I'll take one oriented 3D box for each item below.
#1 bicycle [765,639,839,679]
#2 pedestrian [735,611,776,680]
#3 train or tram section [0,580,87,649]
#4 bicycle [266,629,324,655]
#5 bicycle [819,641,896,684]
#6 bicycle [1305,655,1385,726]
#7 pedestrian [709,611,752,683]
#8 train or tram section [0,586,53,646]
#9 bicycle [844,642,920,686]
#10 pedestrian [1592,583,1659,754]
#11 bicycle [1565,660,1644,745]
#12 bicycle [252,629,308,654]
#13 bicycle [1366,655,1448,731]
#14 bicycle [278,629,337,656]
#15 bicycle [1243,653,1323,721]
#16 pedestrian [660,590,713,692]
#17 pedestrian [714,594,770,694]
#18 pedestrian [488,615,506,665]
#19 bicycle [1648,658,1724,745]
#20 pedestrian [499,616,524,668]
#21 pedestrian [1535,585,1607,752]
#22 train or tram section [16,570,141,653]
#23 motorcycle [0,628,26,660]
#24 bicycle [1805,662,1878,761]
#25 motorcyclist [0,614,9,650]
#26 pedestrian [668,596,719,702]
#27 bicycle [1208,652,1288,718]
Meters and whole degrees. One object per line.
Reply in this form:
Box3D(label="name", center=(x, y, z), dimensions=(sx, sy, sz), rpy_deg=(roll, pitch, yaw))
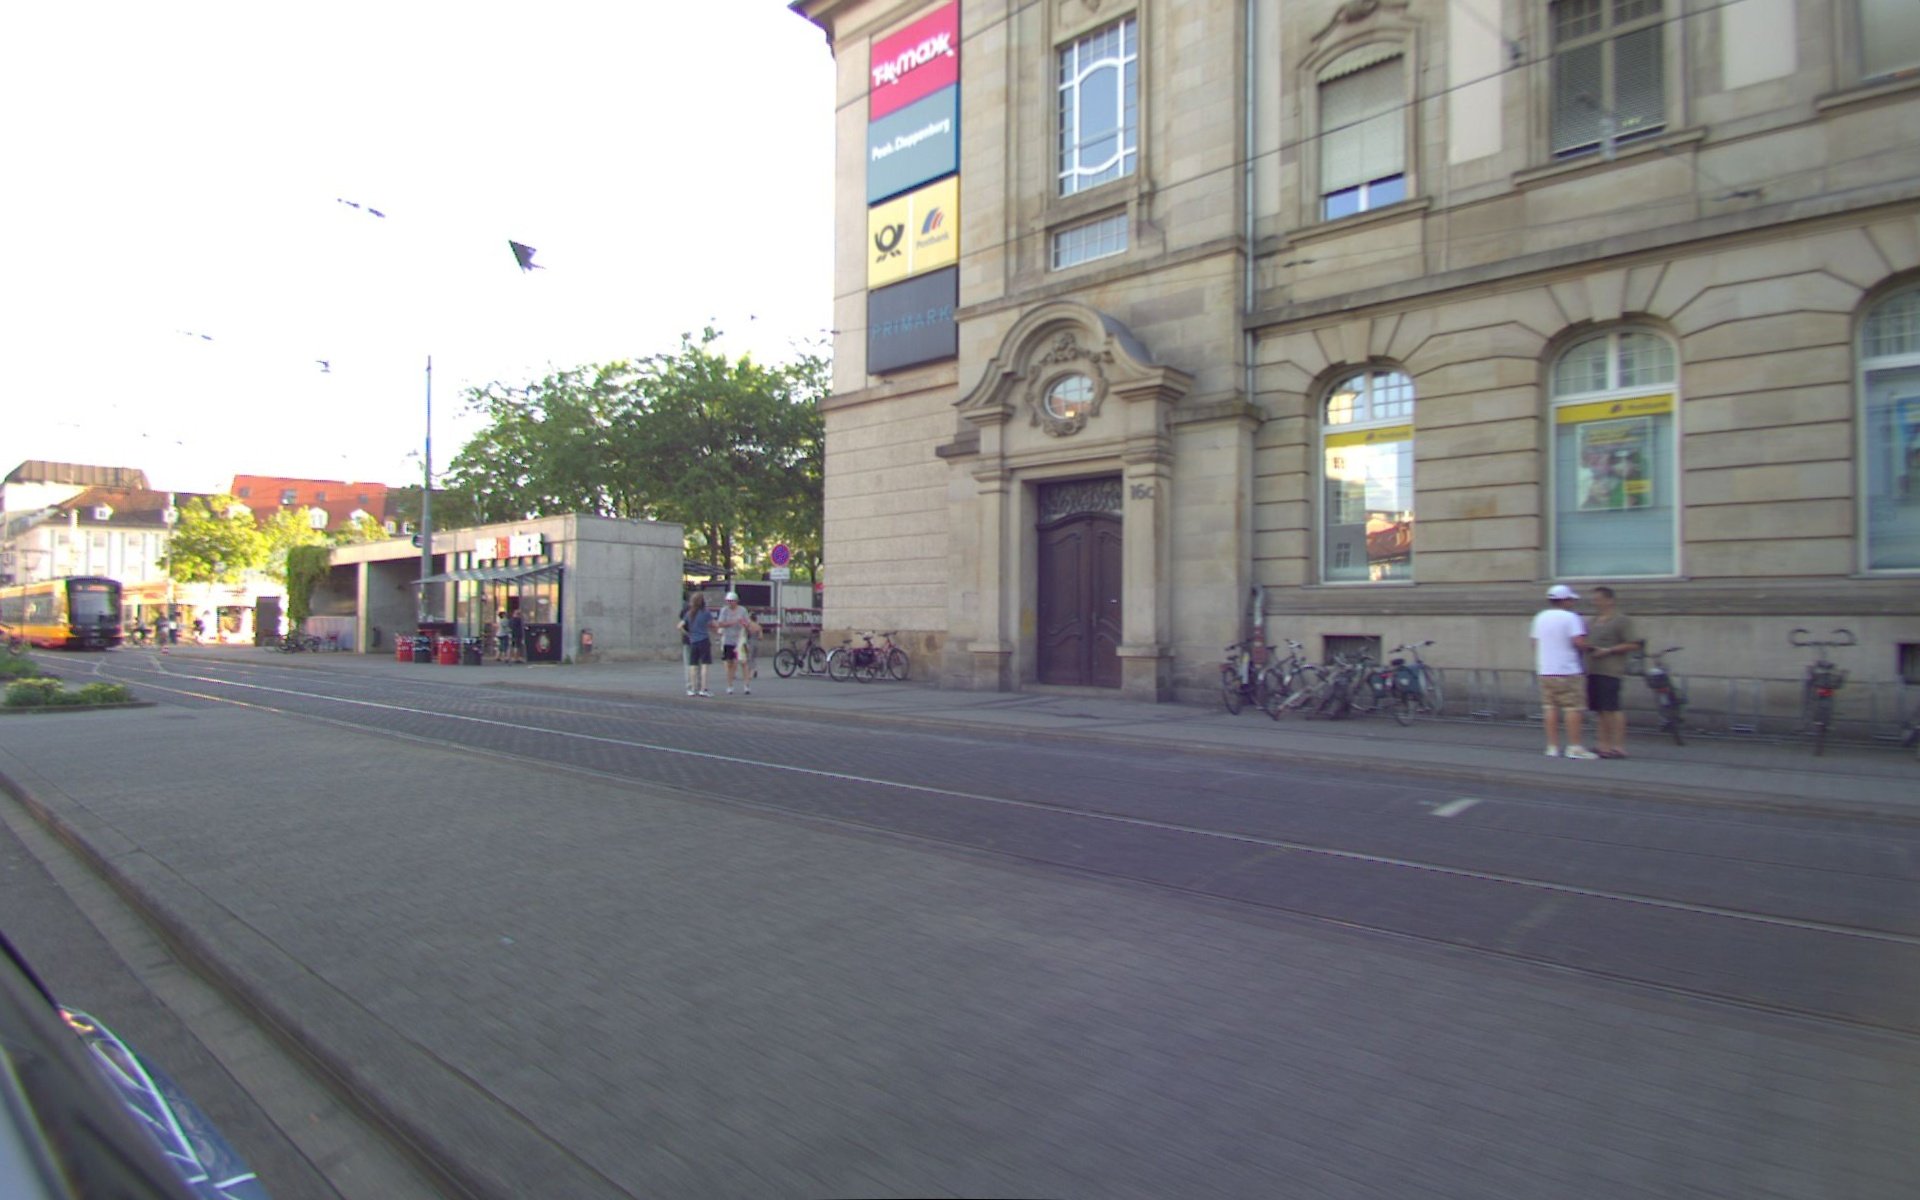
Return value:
Box3D(label="bicycle", center=(-3.784, 1.396, 24.363), dimensions=(0.634, 0.875, 1.817), rpy_deg=(-1, -1, 39))
Box3D(label="pedestrian", center=(-4.740, 1.046, 23.429), dimensions=(0.679, 1.573, 0.653), rpy_deg=(-1, -2, 37))
Box3D(label="train or tram section", center=(-54.023, 0.932, 59.154), dimensions=(11.977, 3.714, 2.865), rpy_deg=(-2, -2, 41))
Box3D(label="bicycle", center=(-30.516, 1.913, 46.464), dimensions=(0.692, 1.168, 2.103), rpy_deg=(-2, -2, 42))
Box3D(label="bicycle", center=(-2.301, 1.400, 22.936), dimensions=(0.634, 0.875, 1.817), rpy_deg=(-1, -1, 39))
Box3D(label="bicycle", center=(5.445, 1.249, 14.276), dimensions=(1.557, 0.880, 0.451), rpy_deg=(0, -1, -44))
Box3D(label="pedestrian", center=(-5.181, 1.050, 22.863), dimensions=(0.679, 1.573, 0.653), rpy_deg=(-1, -2, 37))
Box3D(label="train or tram section", center=(-62.592, 1.123, 66.678), dimensions=(10.779, 3.714, 2.865), rpy_deg=(-2, -2, 41))
Box3D(label="bicycle", center=(-1.715, 1.395, 22.509), dimensions=(0.634, 0.875, 1.817), rpy_deg=(-1, -1, 39))
Box3D(label="pedestrian", center=(6.762, 0.673, 10.289), dimensions=(0.493, 1.686, 0.371), rpy_deg=(-1, -1, 45))
Box3D(label="bicycle", center=(7.716, 1.196, 12.094), dimensions=(1.557, 0.880, 0.451), rpy_deg=(0, -1, -44))
Box3D(label="bicycle", center=(-31.908, 1.925, 47.509), dimensions=(0.692, 1.168, 2.103), rpy_deg=(-2, -2, 42))
Box3D(label="bicycle", center=(5.960, 1.212, 13.450), dimensions=(1.557, 0.880, 0.451), rpy_deg=(0, -1, -44))
Box3D(label="bicycle", center=(-29.266, 1.902, 45.434), dimensions=(0.692, 1.168, 2.103), rpy_deg=(-2, -2, 42))
Box3D(label="bicycle", center=(4.773, 1.255, 14.905), dimensions=(1.557, 0.880, 0.451), rpy_deg=(0, -1, -44))
Box3D(label="pedestrian", center=(-4.827, 0.725, 17.868), dimensions=(0.593, 1.750, 0.643), rpy_deg=(-1, -3, 32))
Box3D(label="pedestrian", center=(-3.928, 0.792, 18.214), dimensions=(0.679, 1.750, 0.668), rpy_deg=(-1, -4, 35))
Box3D(label="pedestrian", center=(-15.675, 1.354, 34.253), dimensions=(0.400, 1.665, 0.389), rpy_deg=(-1, -1, 35))
Box3D(label="bicycle", center=(8.415, 1.143, 11.711), dimensions=(1.557, 0.880, 0.451), rpy_deg=(0, -1, -44))
Box3D(label="pedestrian", center=(-14.573, 1.341, 32.879), dimensions=(0.551, 1.665, 0.556), rpy_deg=(-1, -1, 35))
Box3D(label="pedestrian", center=(6.167, 0.675, 10.227), dimensions=(0.370, 1.643, 0.494), rpy_deg=(0, -1, -9))
Box3D(label="train or tram section", center=(-44.385, 0.677, 50.730), dimensions=(13.474, 3.714, 2.865), rpy_deg=(-2, -2, 41))
Box3D(label="motorcycle", center=(-38.490, 1.772, 40.301), dimensions=(0.801, 1.247, 1.765), rpy_deg=(0, 0, 24))
Box3D(label="bicycle", center=(9.222, 1.127, 10.573), dimensions=(1.557, 0.880, 0.451), rpy_deg=(0, -1, -44))
Box3D(label="motorcyclist", center=(-38.519, 1.268, 40.240), dimensions=(0.795, 1.450, 0.794), rpy_deg=(0, -1, 24))
Box3D(label="pedestrian", center=(-4.515, 0.828, 17.175), dimensions=(0.669, 1.750, 0.484), rpy_deg=(3, -4, -35))
Box3D(label="bicycle", center=(4.349, 1.259, 15.238), dimensions=(1.557, 0.880, 0.451), rpy_deg=(0, -1, -44))
